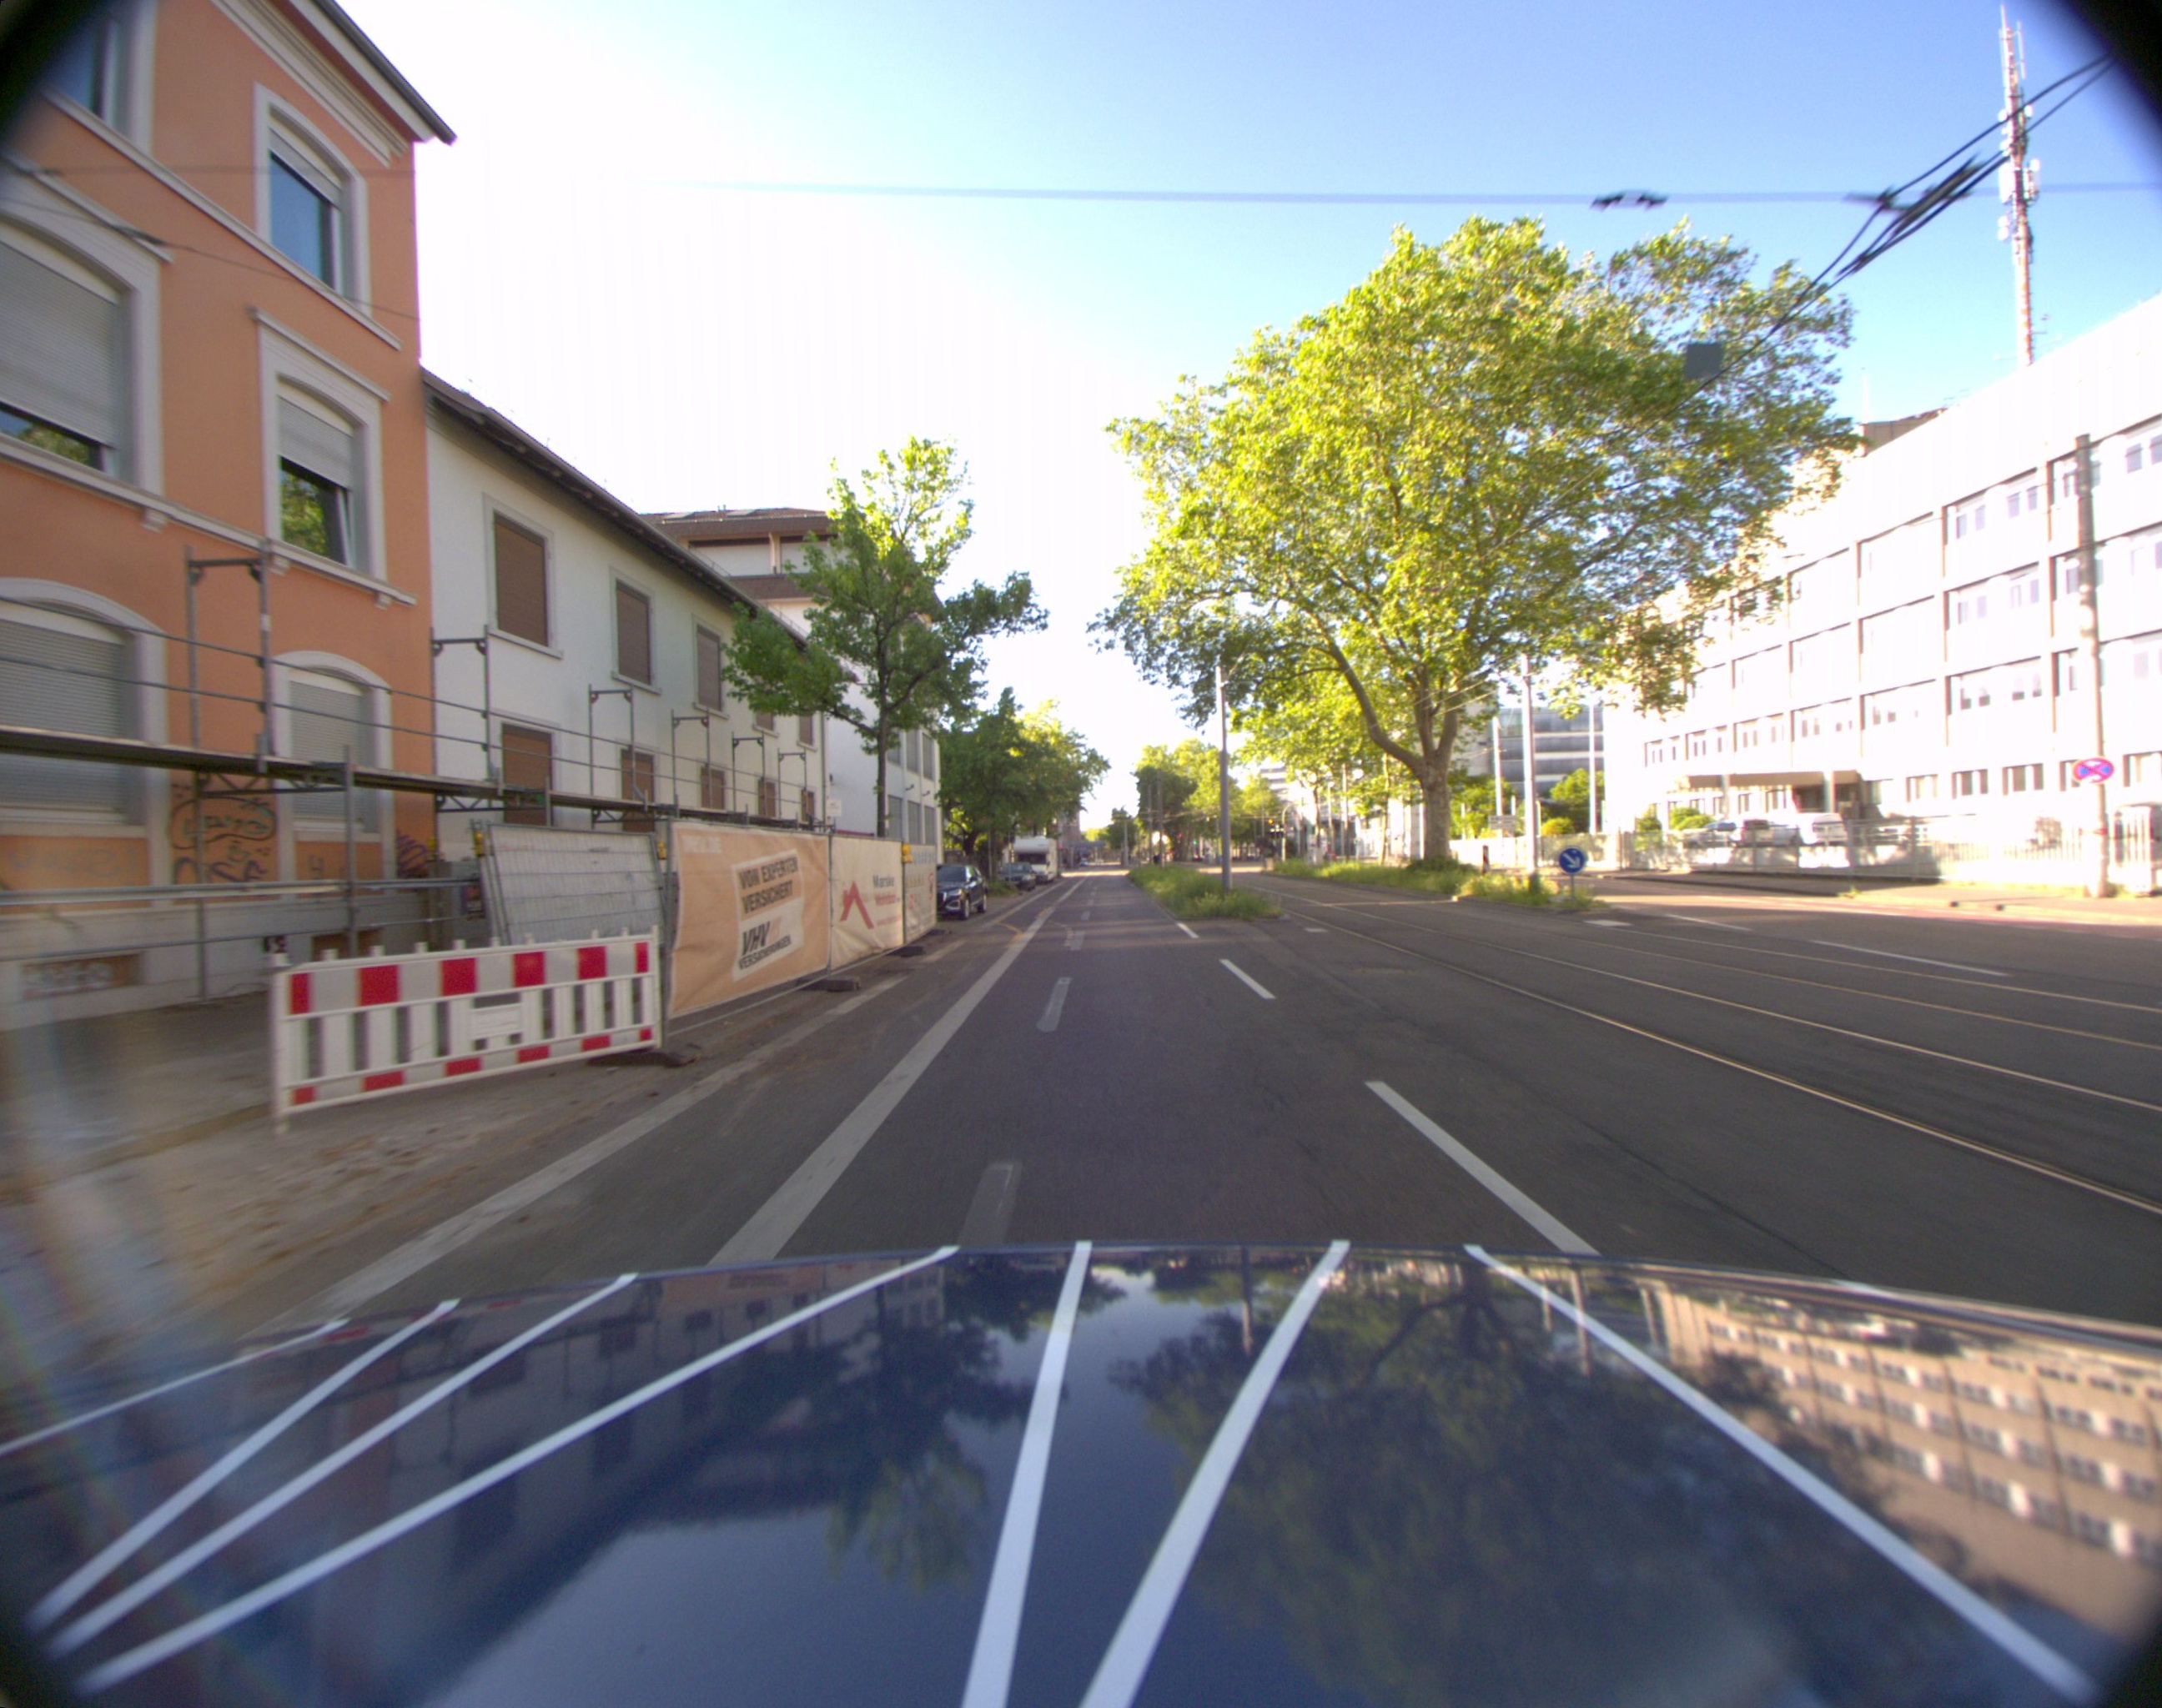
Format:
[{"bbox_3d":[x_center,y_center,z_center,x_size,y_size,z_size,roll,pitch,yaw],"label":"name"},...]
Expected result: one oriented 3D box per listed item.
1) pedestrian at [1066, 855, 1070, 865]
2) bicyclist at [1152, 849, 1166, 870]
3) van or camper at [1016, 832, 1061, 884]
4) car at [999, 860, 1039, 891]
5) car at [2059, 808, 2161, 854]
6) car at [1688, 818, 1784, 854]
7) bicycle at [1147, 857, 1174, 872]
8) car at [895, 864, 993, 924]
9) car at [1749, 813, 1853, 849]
[{"bbox_3d":[-2.242,0.986,127.946,0.621,1.771,0.686,-2,1,2],"label":"pedestrian"},{"bbox_3d":[6.261,0.437,61.066,1.007,1.567,0.760,-2,1,1],"label":"bicyclist"},{"bbox_3d":[-2.642,0.241,48.983,2.172,3.074,7.291,0,0,2],"label":"van or camper"},{"bbox_3d":[-3.109,1.064,38.781,1.656,1.439,3.801,0,0,1],"label":"car"},{"bbox_3d":[42.577,-0.948,30.417,4.277,1.709,1.854,-2,0,2],"label":"car"},{"bbox_3d":[35.620,-0.940,41.475,1.852,1.807,4.000,-2,0,3],"label":"car"},{"bbox_3d":[6.359,0.865,61.070,2.082,1.122,0.760,-2,1,1],"label":"bicycle"},{"bbox_3d":[-3.768,1.067,21.613,1.767,1.475,4.111,0,0,4],"label":"car"},{"bbox_3d":[38.427,-1.201,40.703,1.852,1.742,4.000,-2,0,3],"label":"car"}]
